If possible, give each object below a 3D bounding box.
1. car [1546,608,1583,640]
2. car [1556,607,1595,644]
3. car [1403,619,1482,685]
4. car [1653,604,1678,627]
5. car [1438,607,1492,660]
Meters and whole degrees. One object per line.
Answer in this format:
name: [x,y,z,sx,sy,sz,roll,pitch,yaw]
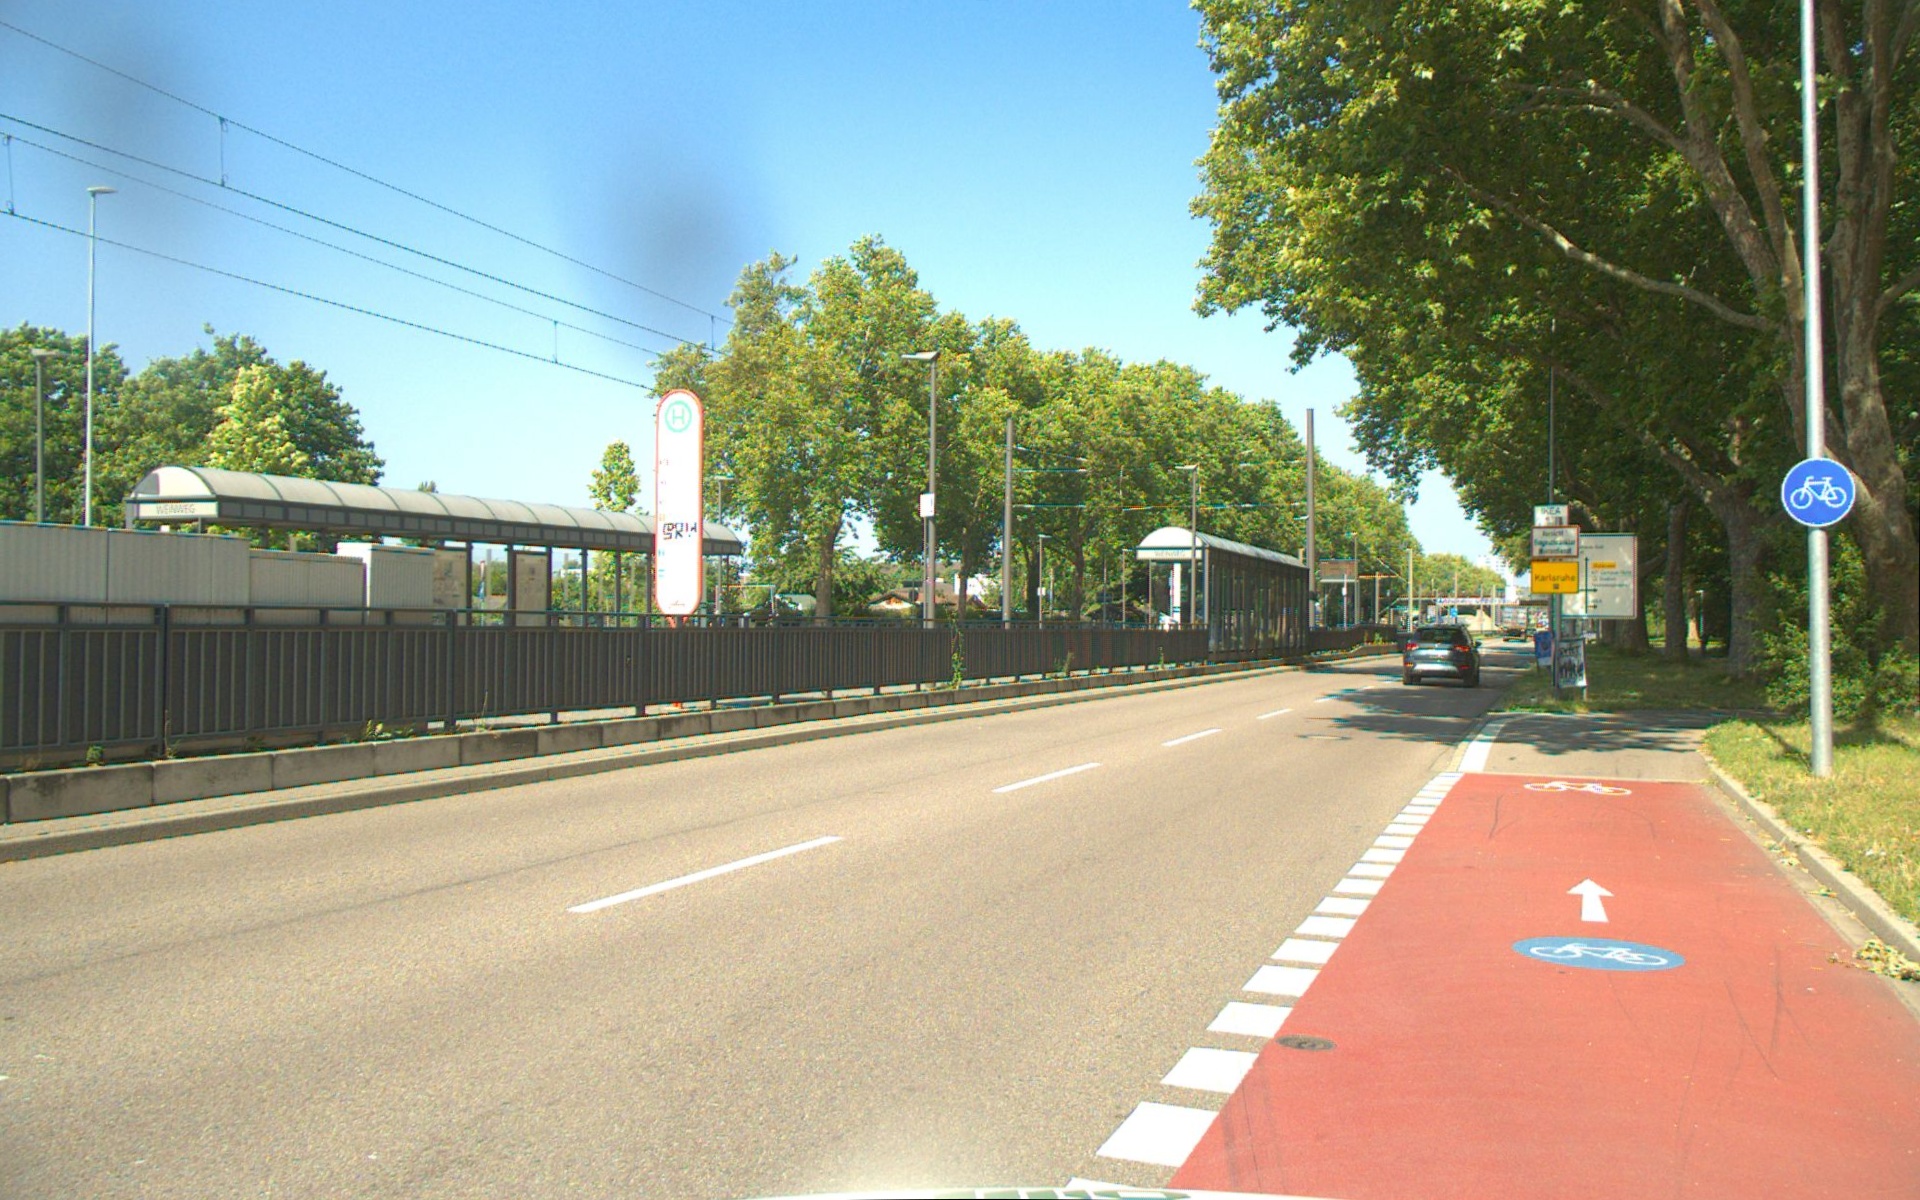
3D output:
car: [39.281,1.563,107.477,1.926,2.049,3.997,-1,-1,25]
car: [34.460,1.414,92.698,1.952,2.049,4.001,0,-1,19]
car: [12.229,1.300,41.816,1.635,1.550,3.377,1,-1,21]
car: [63.285,1.403,148.365,1.954,2.049,3.997,-1,-1,25]
car: [20.567,1.346,67.264,1.952,2.049,4.001,0,-1,19]
